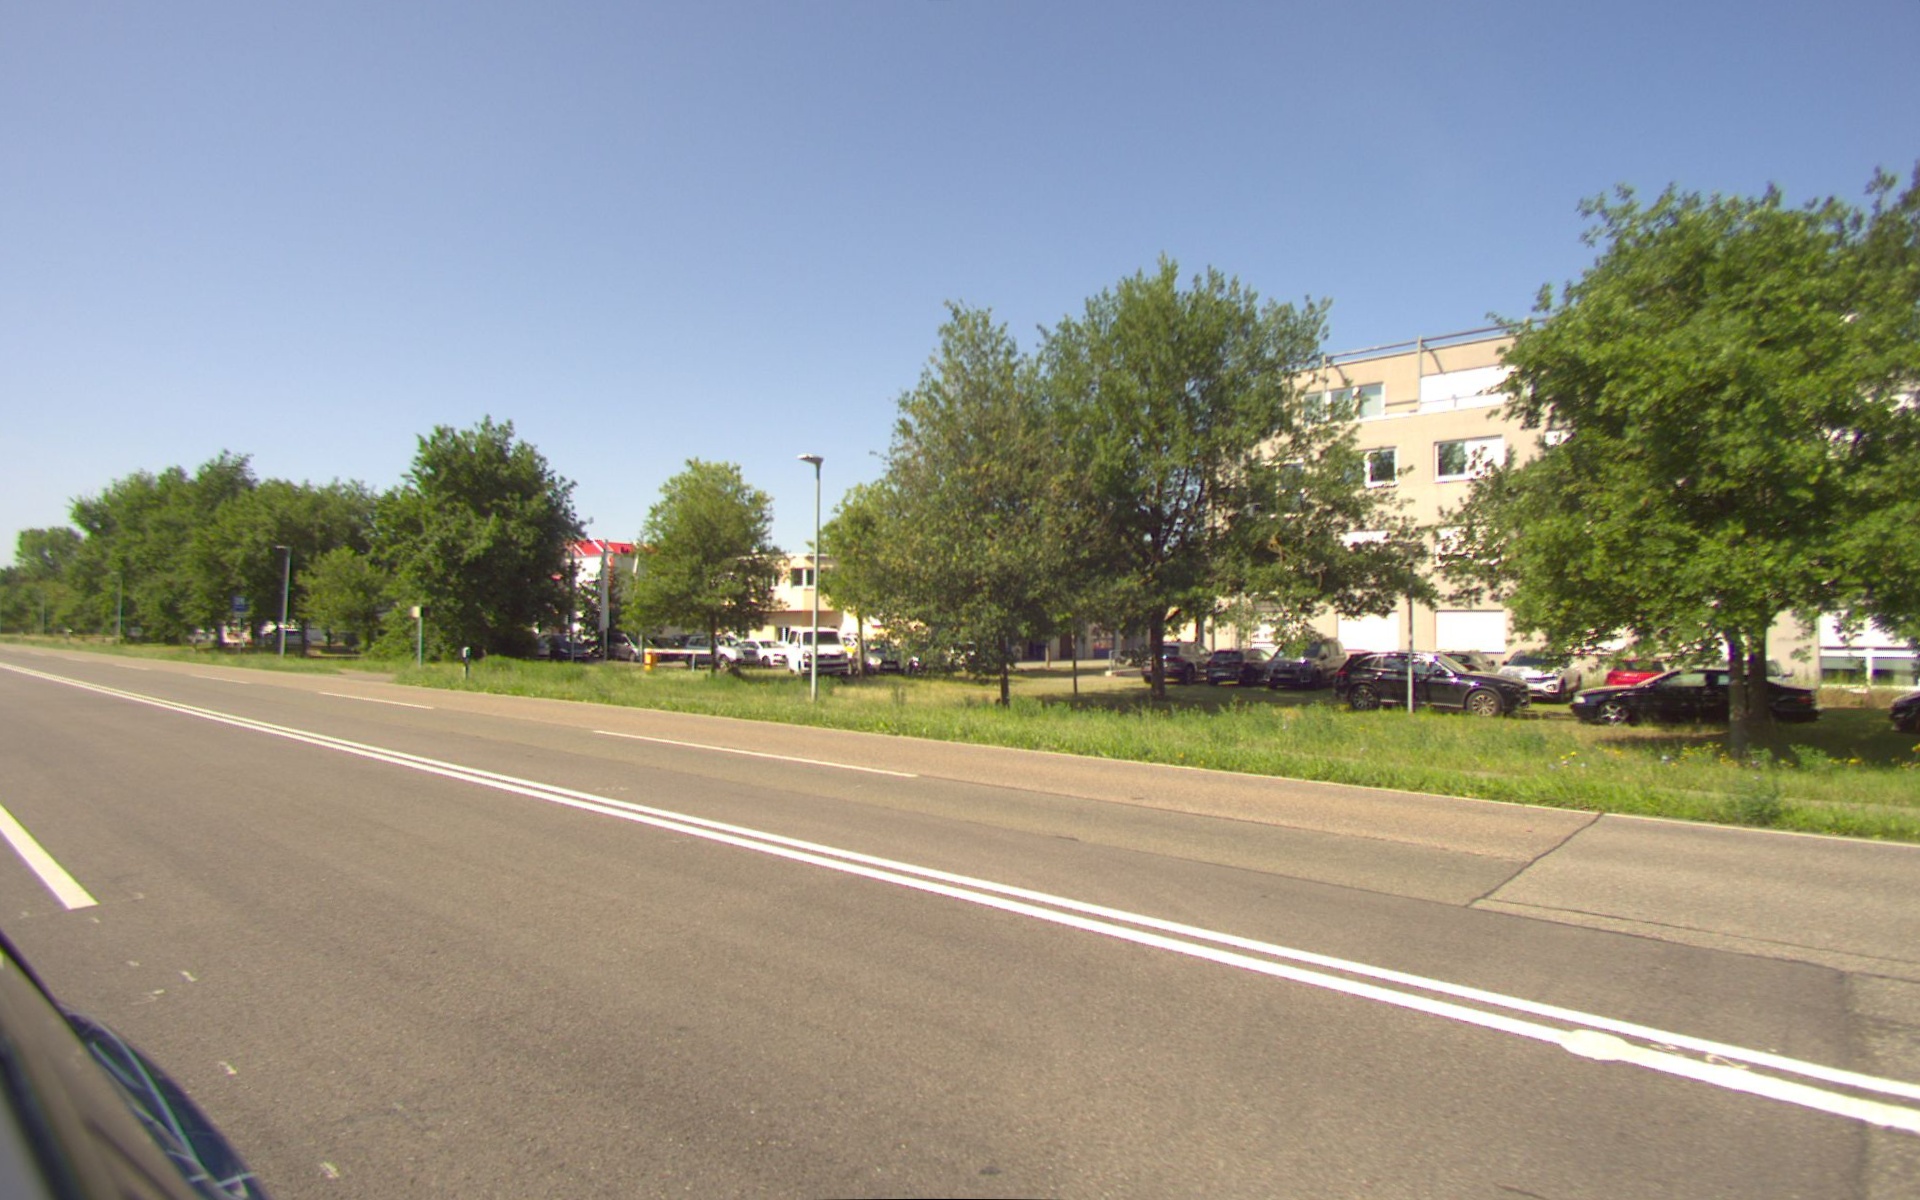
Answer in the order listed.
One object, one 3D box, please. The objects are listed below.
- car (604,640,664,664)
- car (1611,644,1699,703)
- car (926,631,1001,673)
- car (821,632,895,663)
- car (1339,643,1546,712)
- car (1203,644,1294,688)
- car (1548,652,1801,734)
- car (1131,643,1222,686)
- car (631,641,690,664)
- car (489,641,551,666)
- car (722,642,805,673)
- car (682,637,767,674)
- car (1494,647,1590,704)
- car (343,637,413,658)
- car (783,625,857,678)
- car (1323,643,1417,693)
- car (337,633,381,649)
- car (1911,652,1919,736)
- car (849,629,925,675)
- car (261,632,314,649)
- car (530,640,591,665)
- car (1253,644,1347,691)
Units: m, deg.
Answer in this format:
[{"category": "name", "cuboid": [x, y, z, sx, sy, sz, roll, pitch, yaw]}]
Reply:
[{"category": "car", "cuboid": [-19.858, 3.136, 61.518, 3.998, 1.360, 1.654, -1, -3, 41]}, {"category": "car", "cuboid": [20.377, 2.094, 29.613, 1.741, 1.548, 3.946, -1, -3, 40]}, {"category": "car", "cuboid": [0.072, 2.393, 47.771, 2.038, 1.820, 5.031, 1, -1, -18]}, {"category": "car", "cuboid": [-5.846, 2.688, 57.637, 4.167, 1.670, 1.837, -1, -2, 41]}, {"category": "car", "cuboid": [12.388, 1.930, 26.184, 4.546, 1.590, 1.725, -1, -3, 41]}, {"category": "car", "cuboid": [10.918, 2.447, 38.184, 1.886, 1.548, 3.946, -1, -3, 40]}, {"category": "car", "cuboid": [16.116, 2.019, 22.982, 4.546, 1.590, 1.725, -1, -3, 41]}, {"category": "car", "cuboid": [8.502, 2.471, 39.577, 1.886, 1.548, 3.946, -1, -3, 40]}, {"category": "car", "cuboid": [-18.939, 3.314, 63.930, 3.998, 1.360, 1.654, -1, -3, 41]}, {"category": "car", "cuboid": [-24.610, 2.964, 56.576, 3.998, 1.360, 1.654, -1, -3, 41]}, {"category": "car", "cuboid": [-9.813, 2.815, 50.396, 4.188, 1.404, 1.909, -1, -2, 40]}, {"category": "car", "cuboid": [-11.354, 2.620, 48.685, 4.188, 1.664, 1.909, -1, -2, 40]}, {"category": "car", "cuboid": [17.894, 2.253, 31.049, 1.886, 1.548, 3.946, -1, -3, 40]}, {"category": "car", "cuboid": [-45.224, 3.693, 78.673, 1.856, 1.335, 4.305, 0, -5, 41]}, {"category": "car", "cuboid": [-5.658, 1.996, 40.390, 2.038, 1.944, 5.031, 1, -1, -18]}, {"category": "car", "cuboid": [14.126, 2.289, 34.790, 1.886, 1.548, 3.946, -1, -3, 40]}, {"category": "car", "cuboid": [-51.639, 3.527, 86.928, 4.658, 1.360, 1.769, -1, -3, 39]}, {"category": "car", "cuboid": [20.822, 1.812, 18.756, 4.546, 1.590, 1.725, -1, -3, 41]}, {"category": "car", "cuboid": [-3.181, 2.141, 42.870, 2.038, 1.820, 5.031, 1, -1, -18]}, {"category": "car", "cuboid": [-64.273, 3.874, 96.766, 1.757, 1.512, 3.945, -1, -3, 41]}, {"category": "car", "cuboid": [-23.252, 3.036, 58.909, 3.998, 1.360, 1.654, -1, -3, 41]}, {"category": "car", "cuboid": [12.305, 2.382, 36.504, 1.886, 1.548, 3.946, -1, -3, 40]}]
